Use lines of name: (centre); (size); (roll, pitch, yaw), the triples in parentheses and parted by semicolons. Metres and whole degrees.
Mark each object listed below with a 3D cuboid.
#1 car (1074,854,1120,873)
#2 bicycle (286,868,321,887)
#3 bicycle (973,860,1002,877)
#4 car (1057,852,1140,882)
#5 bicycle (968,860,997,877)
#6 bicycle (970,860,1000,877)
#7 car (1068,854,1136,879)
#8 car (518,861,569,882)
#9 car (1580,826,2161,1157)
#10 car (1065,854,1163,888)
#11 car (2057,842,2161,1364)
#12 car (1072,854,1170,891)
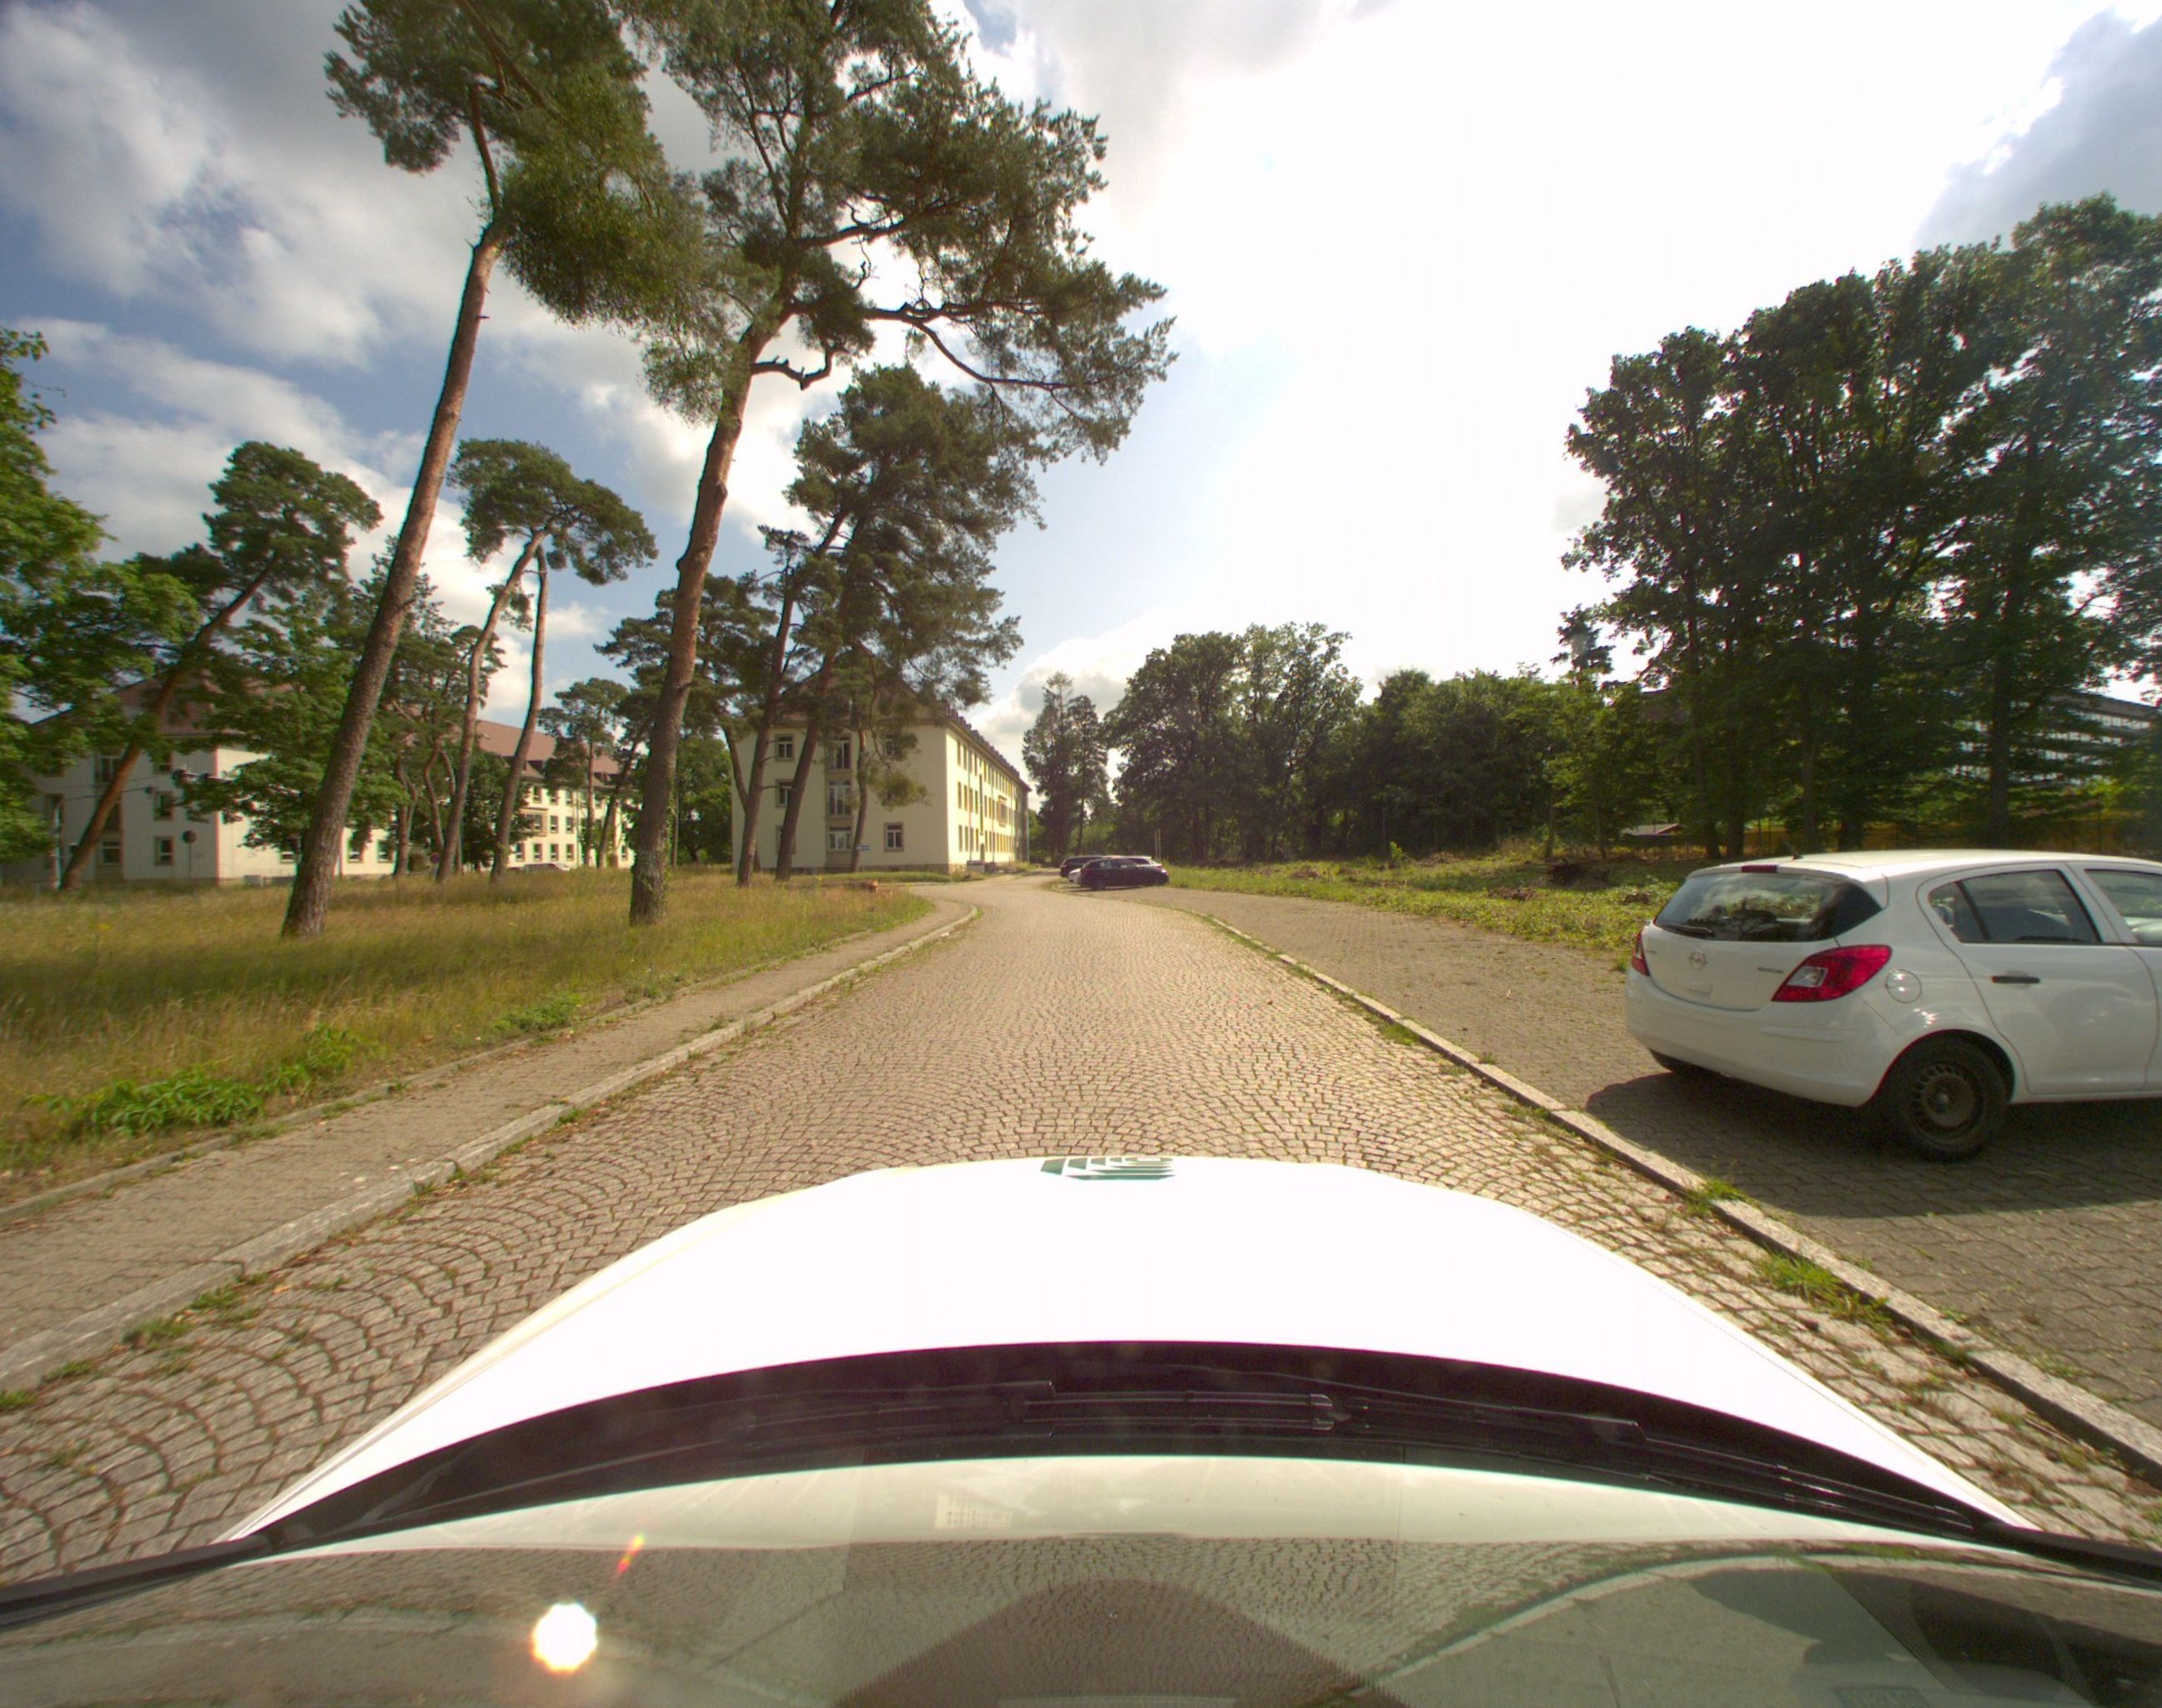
car: (1.543, 0.882, 77.133); (4.170, 1.543, 1.821); (-3, -1, 2)
bicycle: (-48.789, 1.457, 51.106); (0.486, 1.101, 1.592); (-1, 0, 13)
bicycle: (-7.583, 1.161, 66.021); (2.213, 1.260, 0.623); (-2, -1, 3)
car: (1.045, 0.775, 49.003); (4.838, 1.552, 1.879); (-3, -1, -1)
bicycle: (-7.781, 1.158, 64.357); (2.213, 1.260, 0.623); (-2, -1, 3)
bicycle: (-7.680, 1.178, 65.186); (2.210, 1.260, 0.624); (-2, -1, 7)
car: (1.366, 0.830, 54.315); (4.385, 1.484, 1.765); (-3, -1, -1)
car: (-54.623, 1.787, 82.837); (4.044, 1.991, 1.714); (-2, 0, 1)
car: (5.498, 0.628, 4.823); (4.031, 1.464, 1.703); (-3, 0, -2)
car: (1.662, 0.839, 41.643); (4.847, 1.472, 1.874); (-3, 1, -1)
car: (5.106, 0.633, 1.757); (3.976, 1.507, 1.745); (-3, 0, -2)
car: (1.863, 0.855, 38.470); (4.321, 1.500, 1.825); (-3, 1, -7)
